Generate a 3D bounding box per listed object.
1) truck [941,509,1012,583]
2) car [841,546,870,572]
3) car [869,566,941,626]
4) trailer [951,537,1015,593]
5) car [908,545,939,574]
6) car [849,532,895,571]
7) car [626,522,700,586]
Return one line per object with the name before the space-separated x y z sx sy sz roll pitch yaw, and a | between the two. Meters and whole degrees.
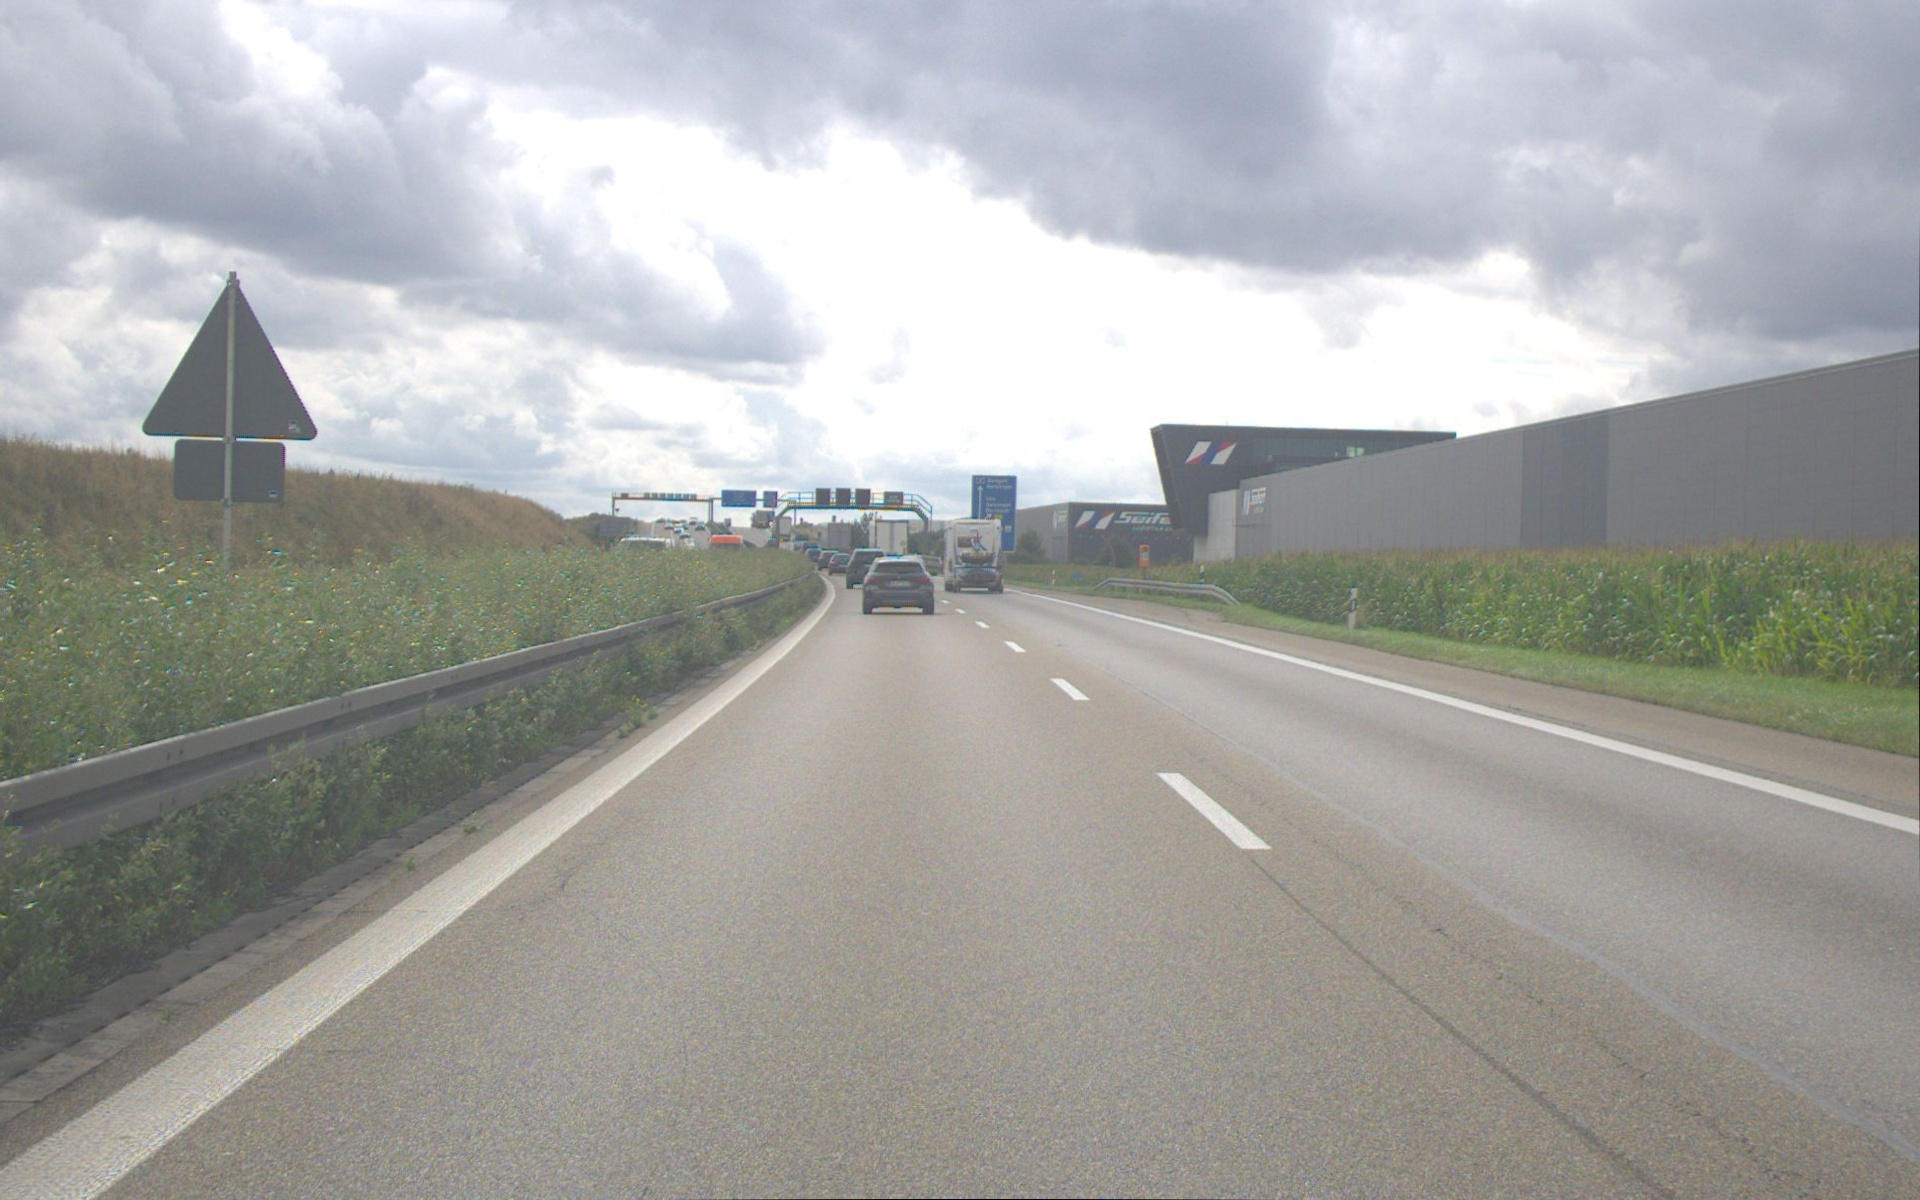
truck | 0.648 -2.230 142.071 2.481 2.940 5.816 1 1 -4
car | -7.173 -2.799 236.069 1.943 1.769 3.696 1 1 -2
car | -1.430 -0.115 87.543 1.746 1.448 4.000 1 1 -2
trailer | 0.895 -1.392 135.078 2.338 2.129 4.000 1 1 -2
car | -2.326 -2.562 217.292 1.801 1.679 4.001 0 2 -2
car | -3.884 -2.134 151.069 1.945 1.679 4.000 1 1 -2
car | -9.762 -1.506 113.304 1.993 2.007 5.532 1 1 -1
